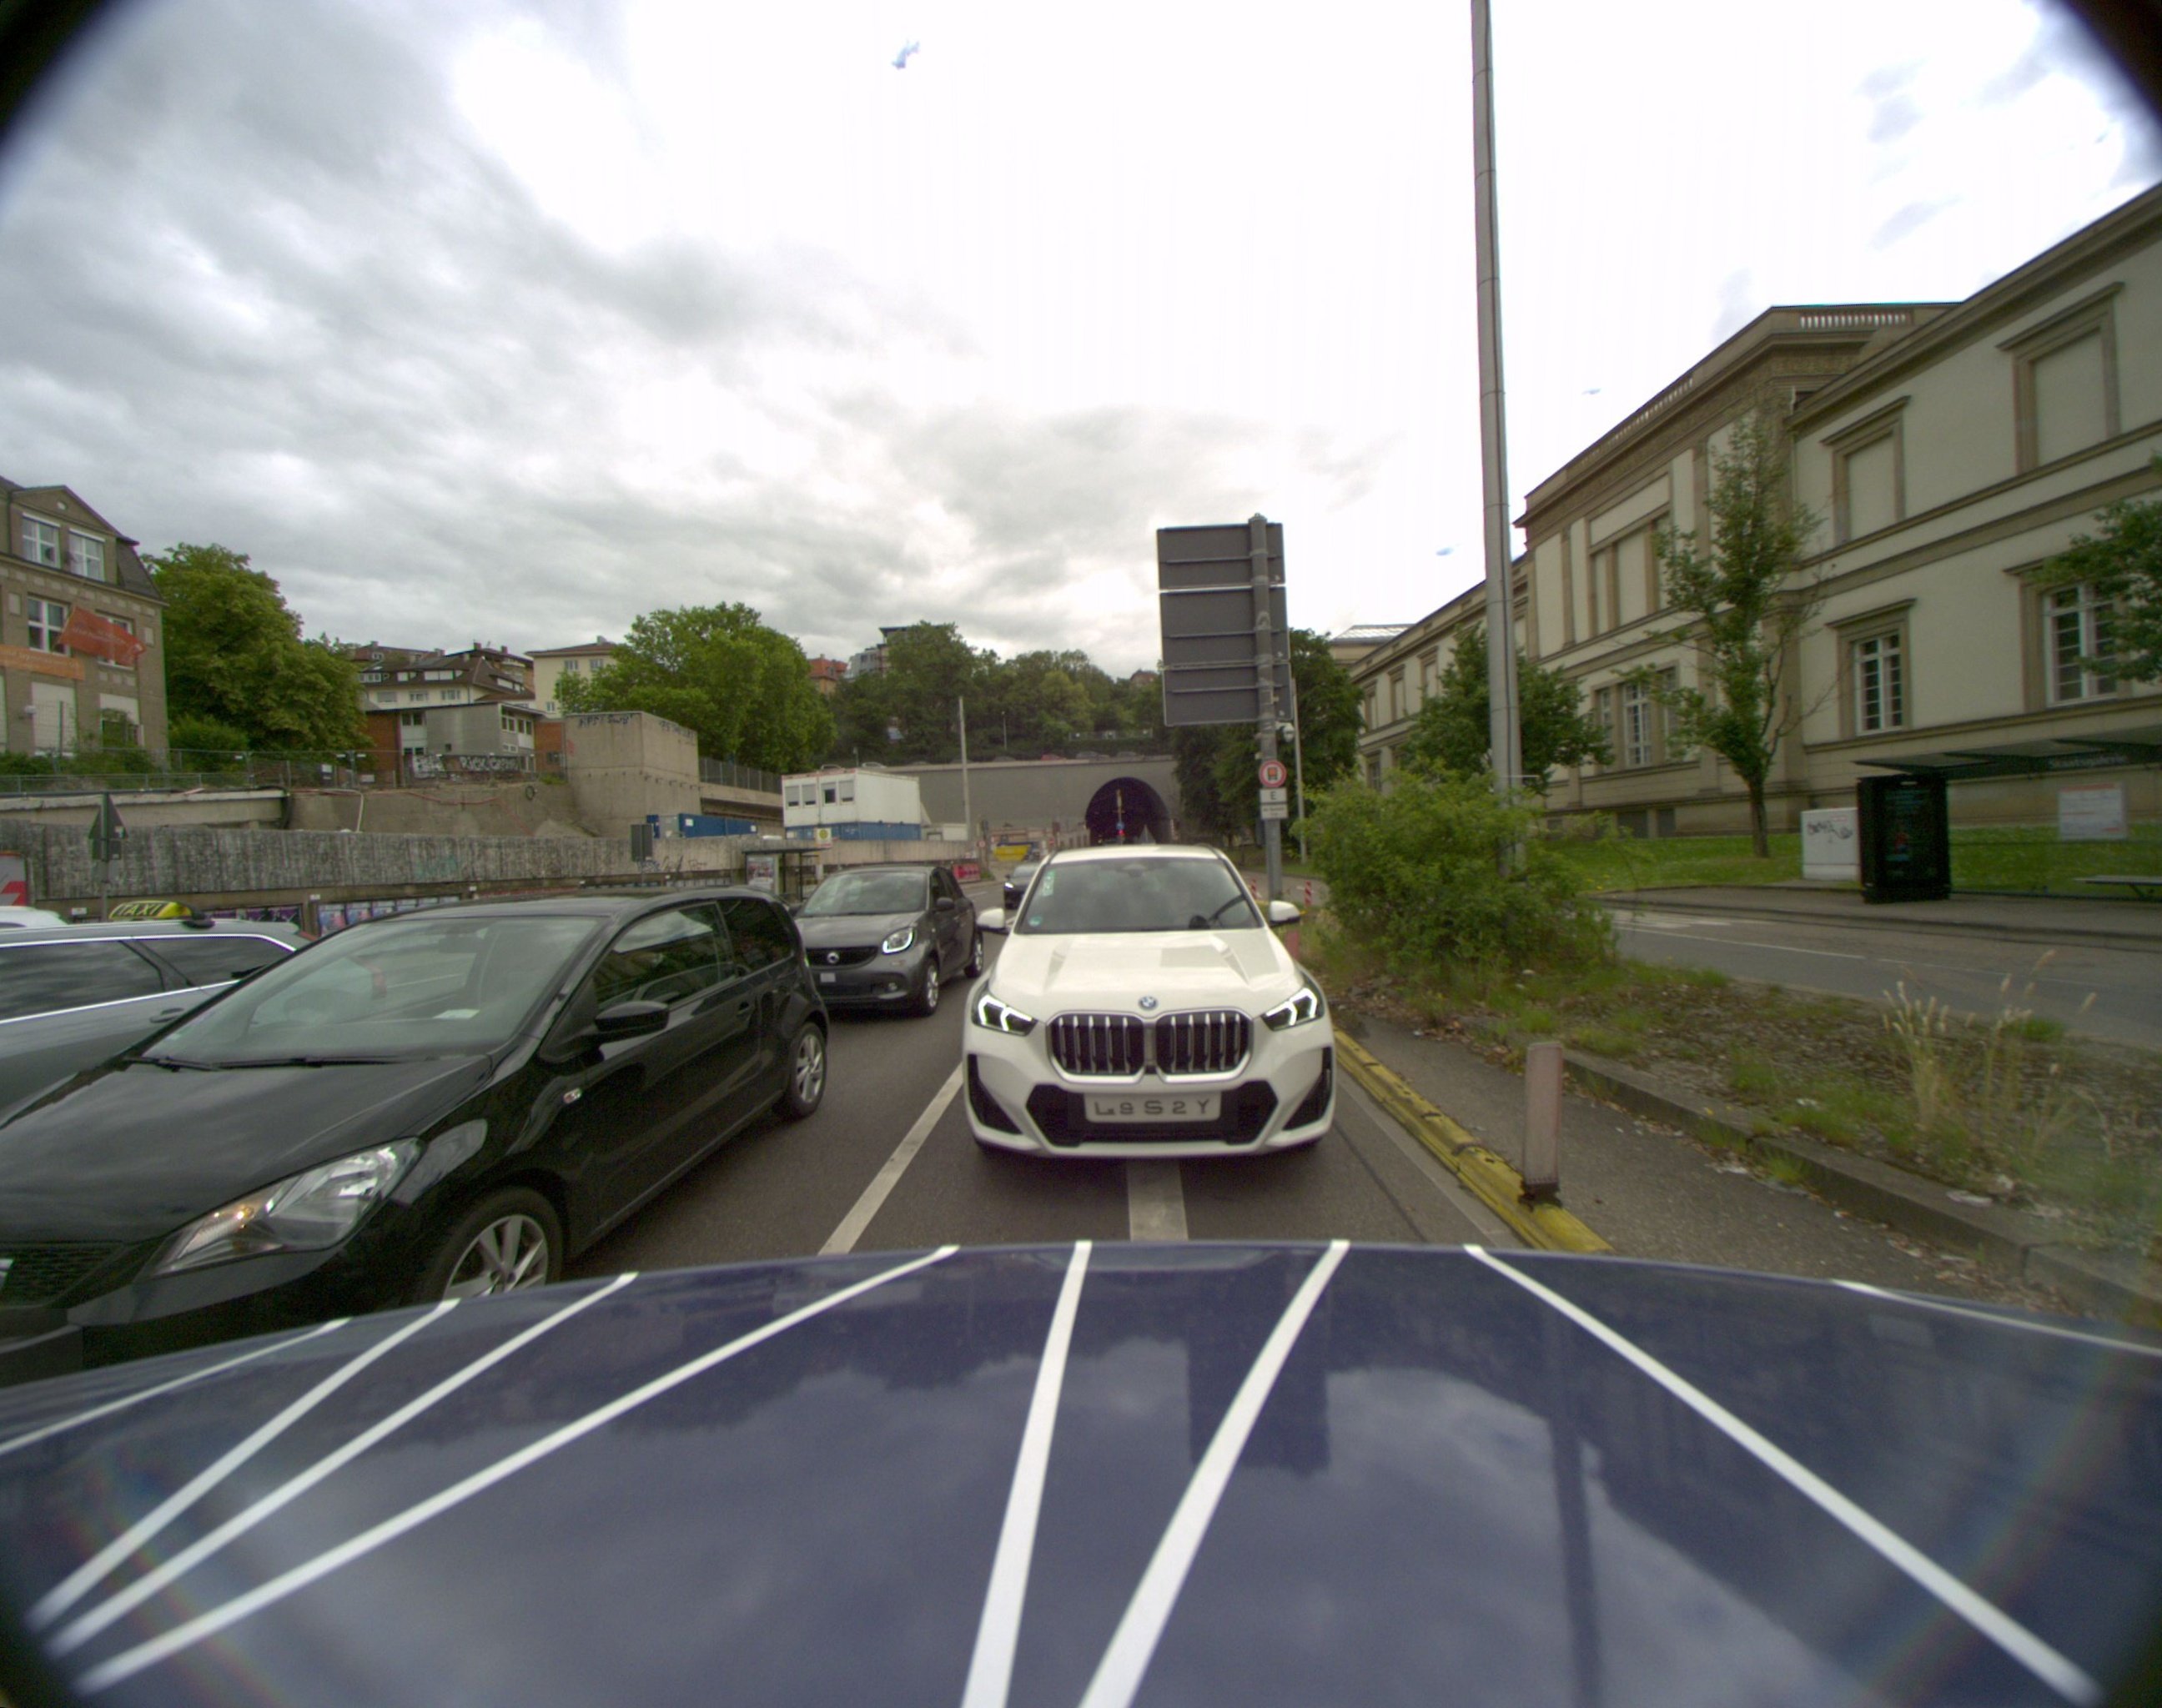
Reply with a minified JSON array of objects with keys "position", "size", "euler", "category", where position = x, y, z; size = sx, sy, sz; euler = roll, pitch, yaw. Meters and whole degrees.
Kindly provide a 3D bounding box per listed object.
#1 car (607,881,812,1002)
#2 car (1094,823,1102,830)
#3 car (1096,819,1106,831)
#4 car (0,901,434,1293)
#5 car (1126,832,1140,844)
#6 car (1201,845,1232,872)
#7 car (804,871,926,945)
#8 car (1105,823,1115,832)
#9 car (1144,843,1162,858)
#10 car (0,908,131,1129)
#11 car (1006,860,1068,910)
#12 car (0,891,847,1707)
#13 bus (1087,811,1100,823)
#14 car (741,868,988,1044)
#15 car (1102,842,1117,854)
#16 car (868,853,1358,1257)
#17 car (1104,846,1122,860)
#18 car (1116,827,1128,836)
[{"position":[-5.420,1.207,11.452],"size":[1.665,1.423,2.714],"euler":[-2,1,1],"category":"car"},{"position":[4.432,-7.141,199.206],"size":[1.946,1.714,4.000],"euler":[-2,1,4],"category":"car"},{"position":[4.513,-6.539,171.307],"size":[2.203,2.493,4.758],"euler":[-2,1,2],"category":"car"},{"position":[-5.850,1.219,3.306],"size":[1.829,1.615,4.808],"euler":[-2,1,1],"category":"car"},{"position":[7.806,-2.404,114.366],"size":[1.903,1.615,4.107],"euler":[-2,0,0],"category":"car"},{"position":[9.453,0.253,53.172],"size":[1.835,1.736,4.001],"euler":[-2,1,7],"category":"car"},{"position":[-4.912,1.180,17.816],"size":[1.680,1.358,3.806],"euler":[-2,1,1],"category":"car"},{"position":[5.701,-5.105,148.785],"size":[1.778,1.609,3.802],"euler":[-2,1,-1],"category":"car"},{"position":[8.569,-0.431,90.169],"size":[1.902,1.615,4.109],"euler":[-2,0,6],"category":"car"},{"position":[-9.100,1.332,4.448],"size":[1.680,1.615,4.209],"euler":[-2,1,1],"category":"car"},{"position":[-1.430,1.019,26.150],"size":[1.680,1.450,3.807],"euler":[-2,1,3],"category":"car"},{"position":[-2.565,1.030,3.346],"size":[1.829,1.450,3.700],"euler":[-2,1,1],"category":"car"},{"position":[3.708,-10.900,226.621],"size":[3.171,3.129,9.118],"euler":[-2,1,-1],"category":"bus"},{"position":[-2.248,0.993,8.895],"size":[1.720,1.535,3.575],"euler":[-2,0,2],"category":"car"},{"position":[3.530,-0.748,94.840],"size":[1.680,1.358,3.806],"euler":[-2,1,1],"category":"car"},{"position":[0.256,0.860,5.005],"size":[1.987,1.615,3.671],"euler":[-2,1,4],"category":"car"},{"position":[3.290,-0.124,77.723],"size":[1.680,1.358,3.806],"euler":[-2,1,1],"category":"car"},{"position":[7.169,-3.954,132.439],"size":[1.646,1.469,3.574],"euler":[-2,0,-2],"category":"car"}]
